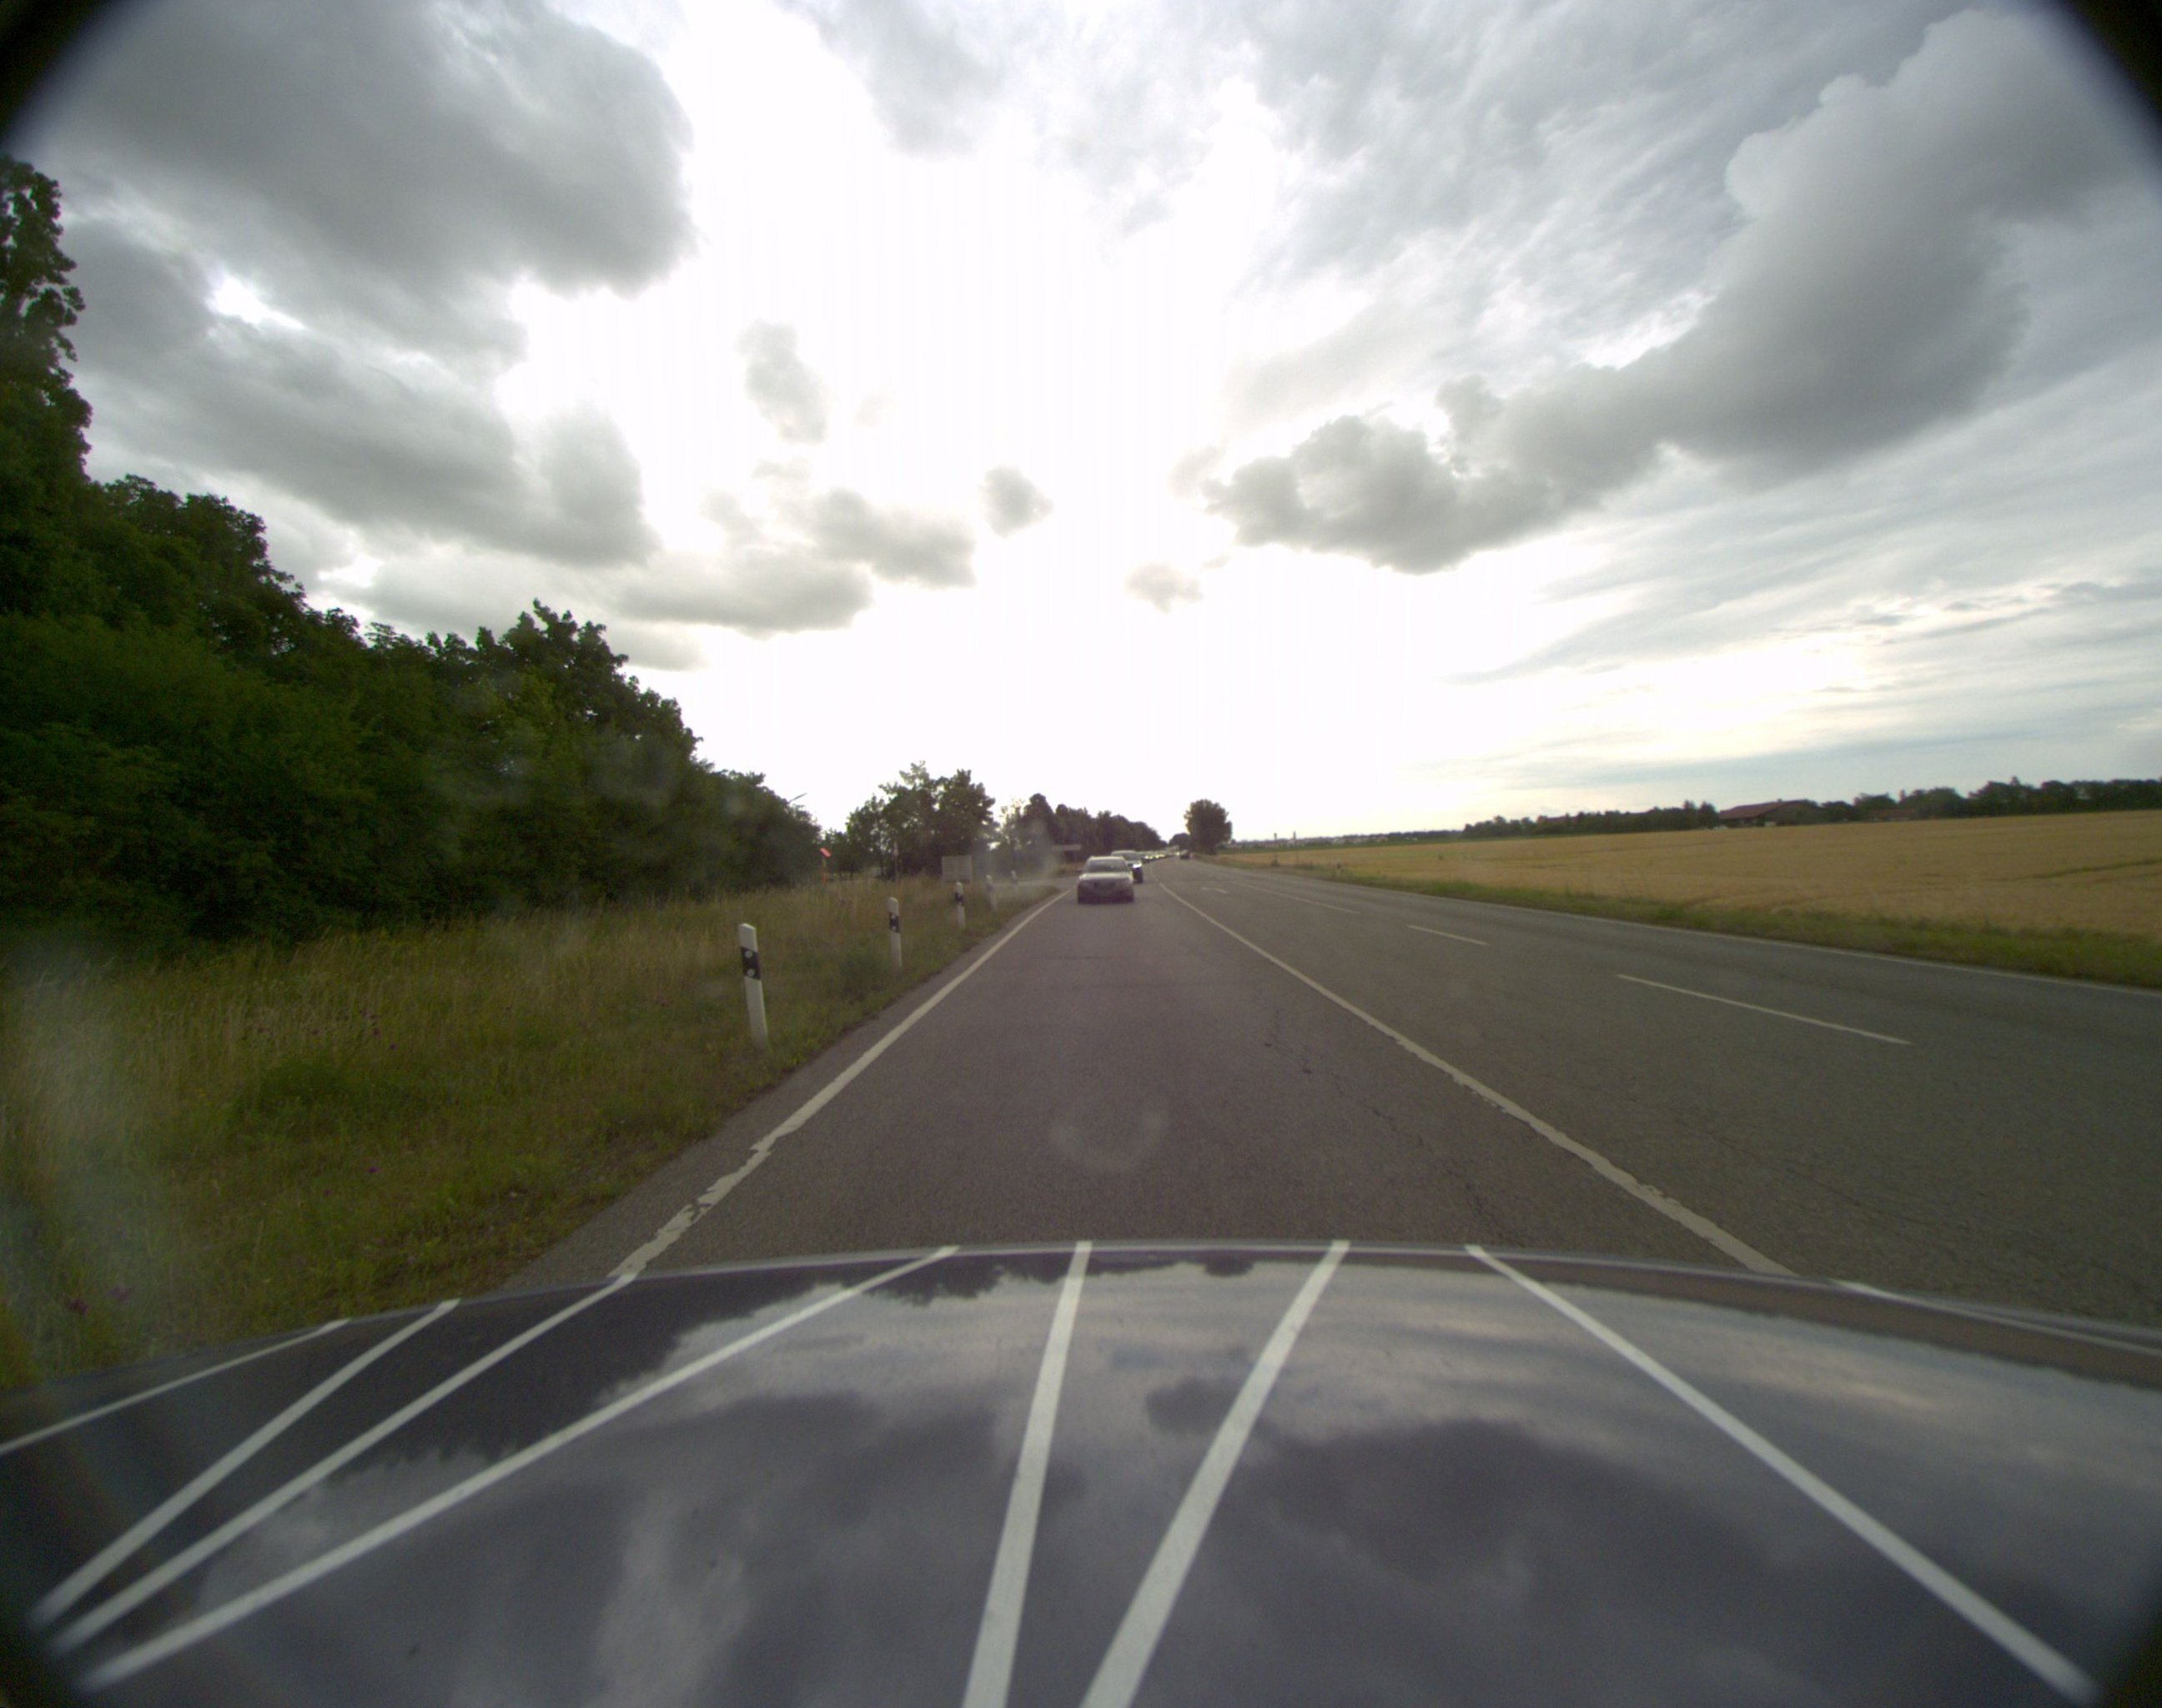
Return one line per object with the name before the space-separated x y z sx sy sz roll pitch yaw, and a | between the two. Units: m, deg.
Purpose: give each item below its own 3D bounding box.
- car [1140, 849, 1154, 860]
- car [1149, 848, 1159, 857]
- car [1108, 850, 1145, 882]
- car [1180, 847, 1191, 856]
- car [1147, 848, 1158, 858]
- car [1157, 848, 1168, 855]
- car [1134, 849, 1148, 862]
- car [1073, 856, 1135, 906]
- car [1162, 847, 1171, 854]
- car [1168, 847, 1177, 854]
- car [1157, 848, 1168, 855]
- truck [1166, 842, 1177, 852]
car | 9.722 0.053 111.687 1.793 1.573 4.189 -2 0 7
car | 14.354 -0.324 148.718 1.792 1.573 4.139 -2 0 8
car | 2.389 0.604 40.752 1.793 1.573 4.367 -2 0 2
car | 19.203 -0.505 139.130 1.830 1.402 4.427 -4 0 9
car | 12.160 -0.139 128.903 1.793 1.573 4.189 -2 0 7
car | 17.327 -0.539 161.124 1.792 1.573 4.140 -2 0 11
car | 8.097 0.173 102.063 1.793 1.573 4.369 -2 0 6
car | 0.754 0.818 24.841 1.793 1.415 4.367 -2 0 2
car | 20.023 -0.795 177.657 1.792 1.573 4.140 -2 0 12
car | 23.870 -0.900 198.240 1.792 1.531 4.140 -2 0 13
car | 18.153 -0.584 168.689 1.953 1.573 4.140 -2 0 13
truck | 26.550 -2.070 222.794 2.318 2.749 7.679 -2 0 12
